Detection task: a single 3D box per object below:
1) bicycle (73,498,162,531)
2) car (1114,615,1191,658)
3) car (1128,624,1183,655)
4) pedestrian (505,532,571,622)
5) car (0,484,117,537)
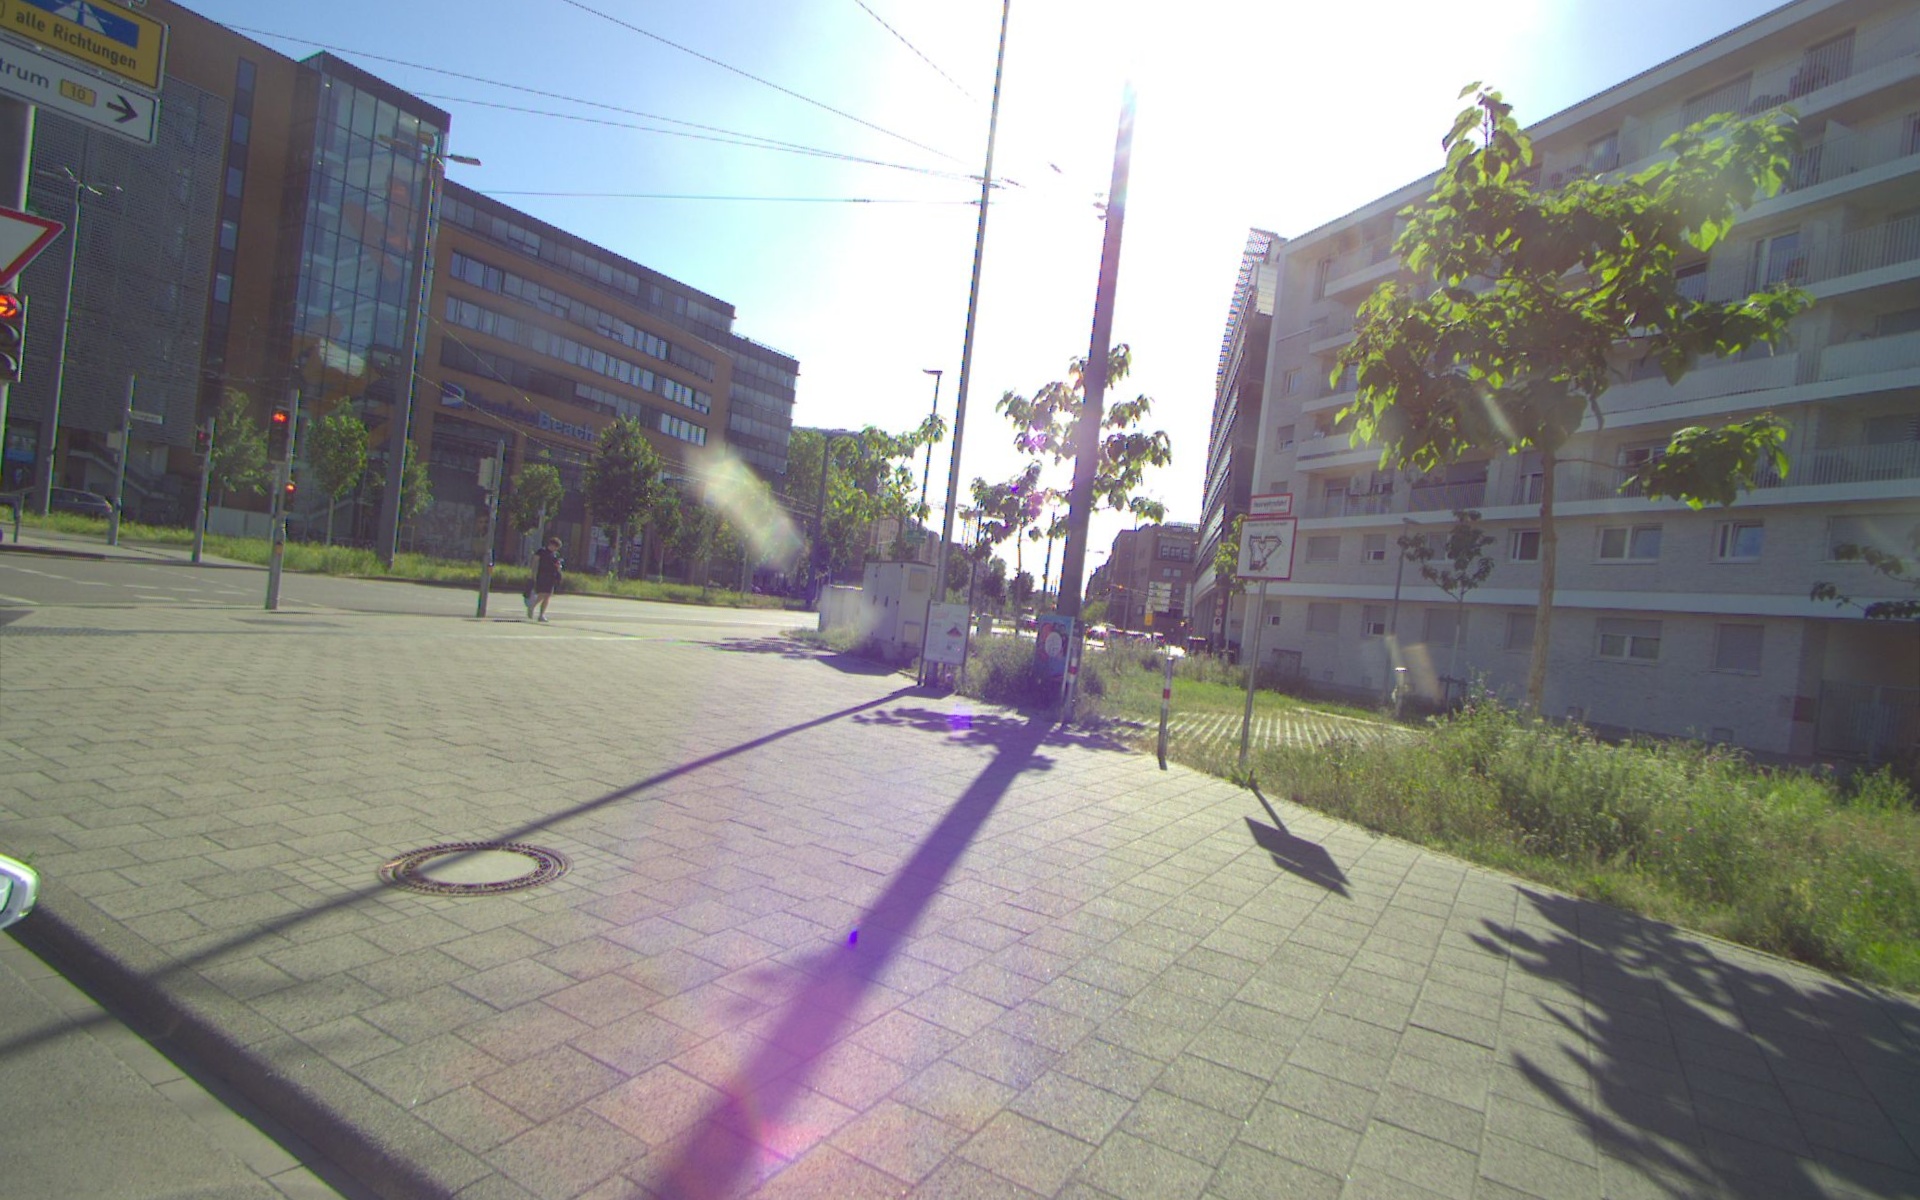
[{"bbox_3d":[-44.023,-4.450,52.620,1.100,1.090,3.361,8,-1,38],"label":"bicycle"},{"bbox_3d":[11.441,2.183,60.048,3.929,2.038,1.999,7,0,-5],"label":"car"},{"bbox_3d":[16.225,3.266,83.637,3.926,2.038,2.000,7,0,0],"label":"car"},{"bbox_3d":[-8.676,-0.469,20.683,0.749,1.730,0.807,7,0,31],"label":"pedestrian"},{"bbox_3d":[-35.072,-3.462,38.131,1.470,1.513,4.493,7,-1,32],"label":"car"}]
